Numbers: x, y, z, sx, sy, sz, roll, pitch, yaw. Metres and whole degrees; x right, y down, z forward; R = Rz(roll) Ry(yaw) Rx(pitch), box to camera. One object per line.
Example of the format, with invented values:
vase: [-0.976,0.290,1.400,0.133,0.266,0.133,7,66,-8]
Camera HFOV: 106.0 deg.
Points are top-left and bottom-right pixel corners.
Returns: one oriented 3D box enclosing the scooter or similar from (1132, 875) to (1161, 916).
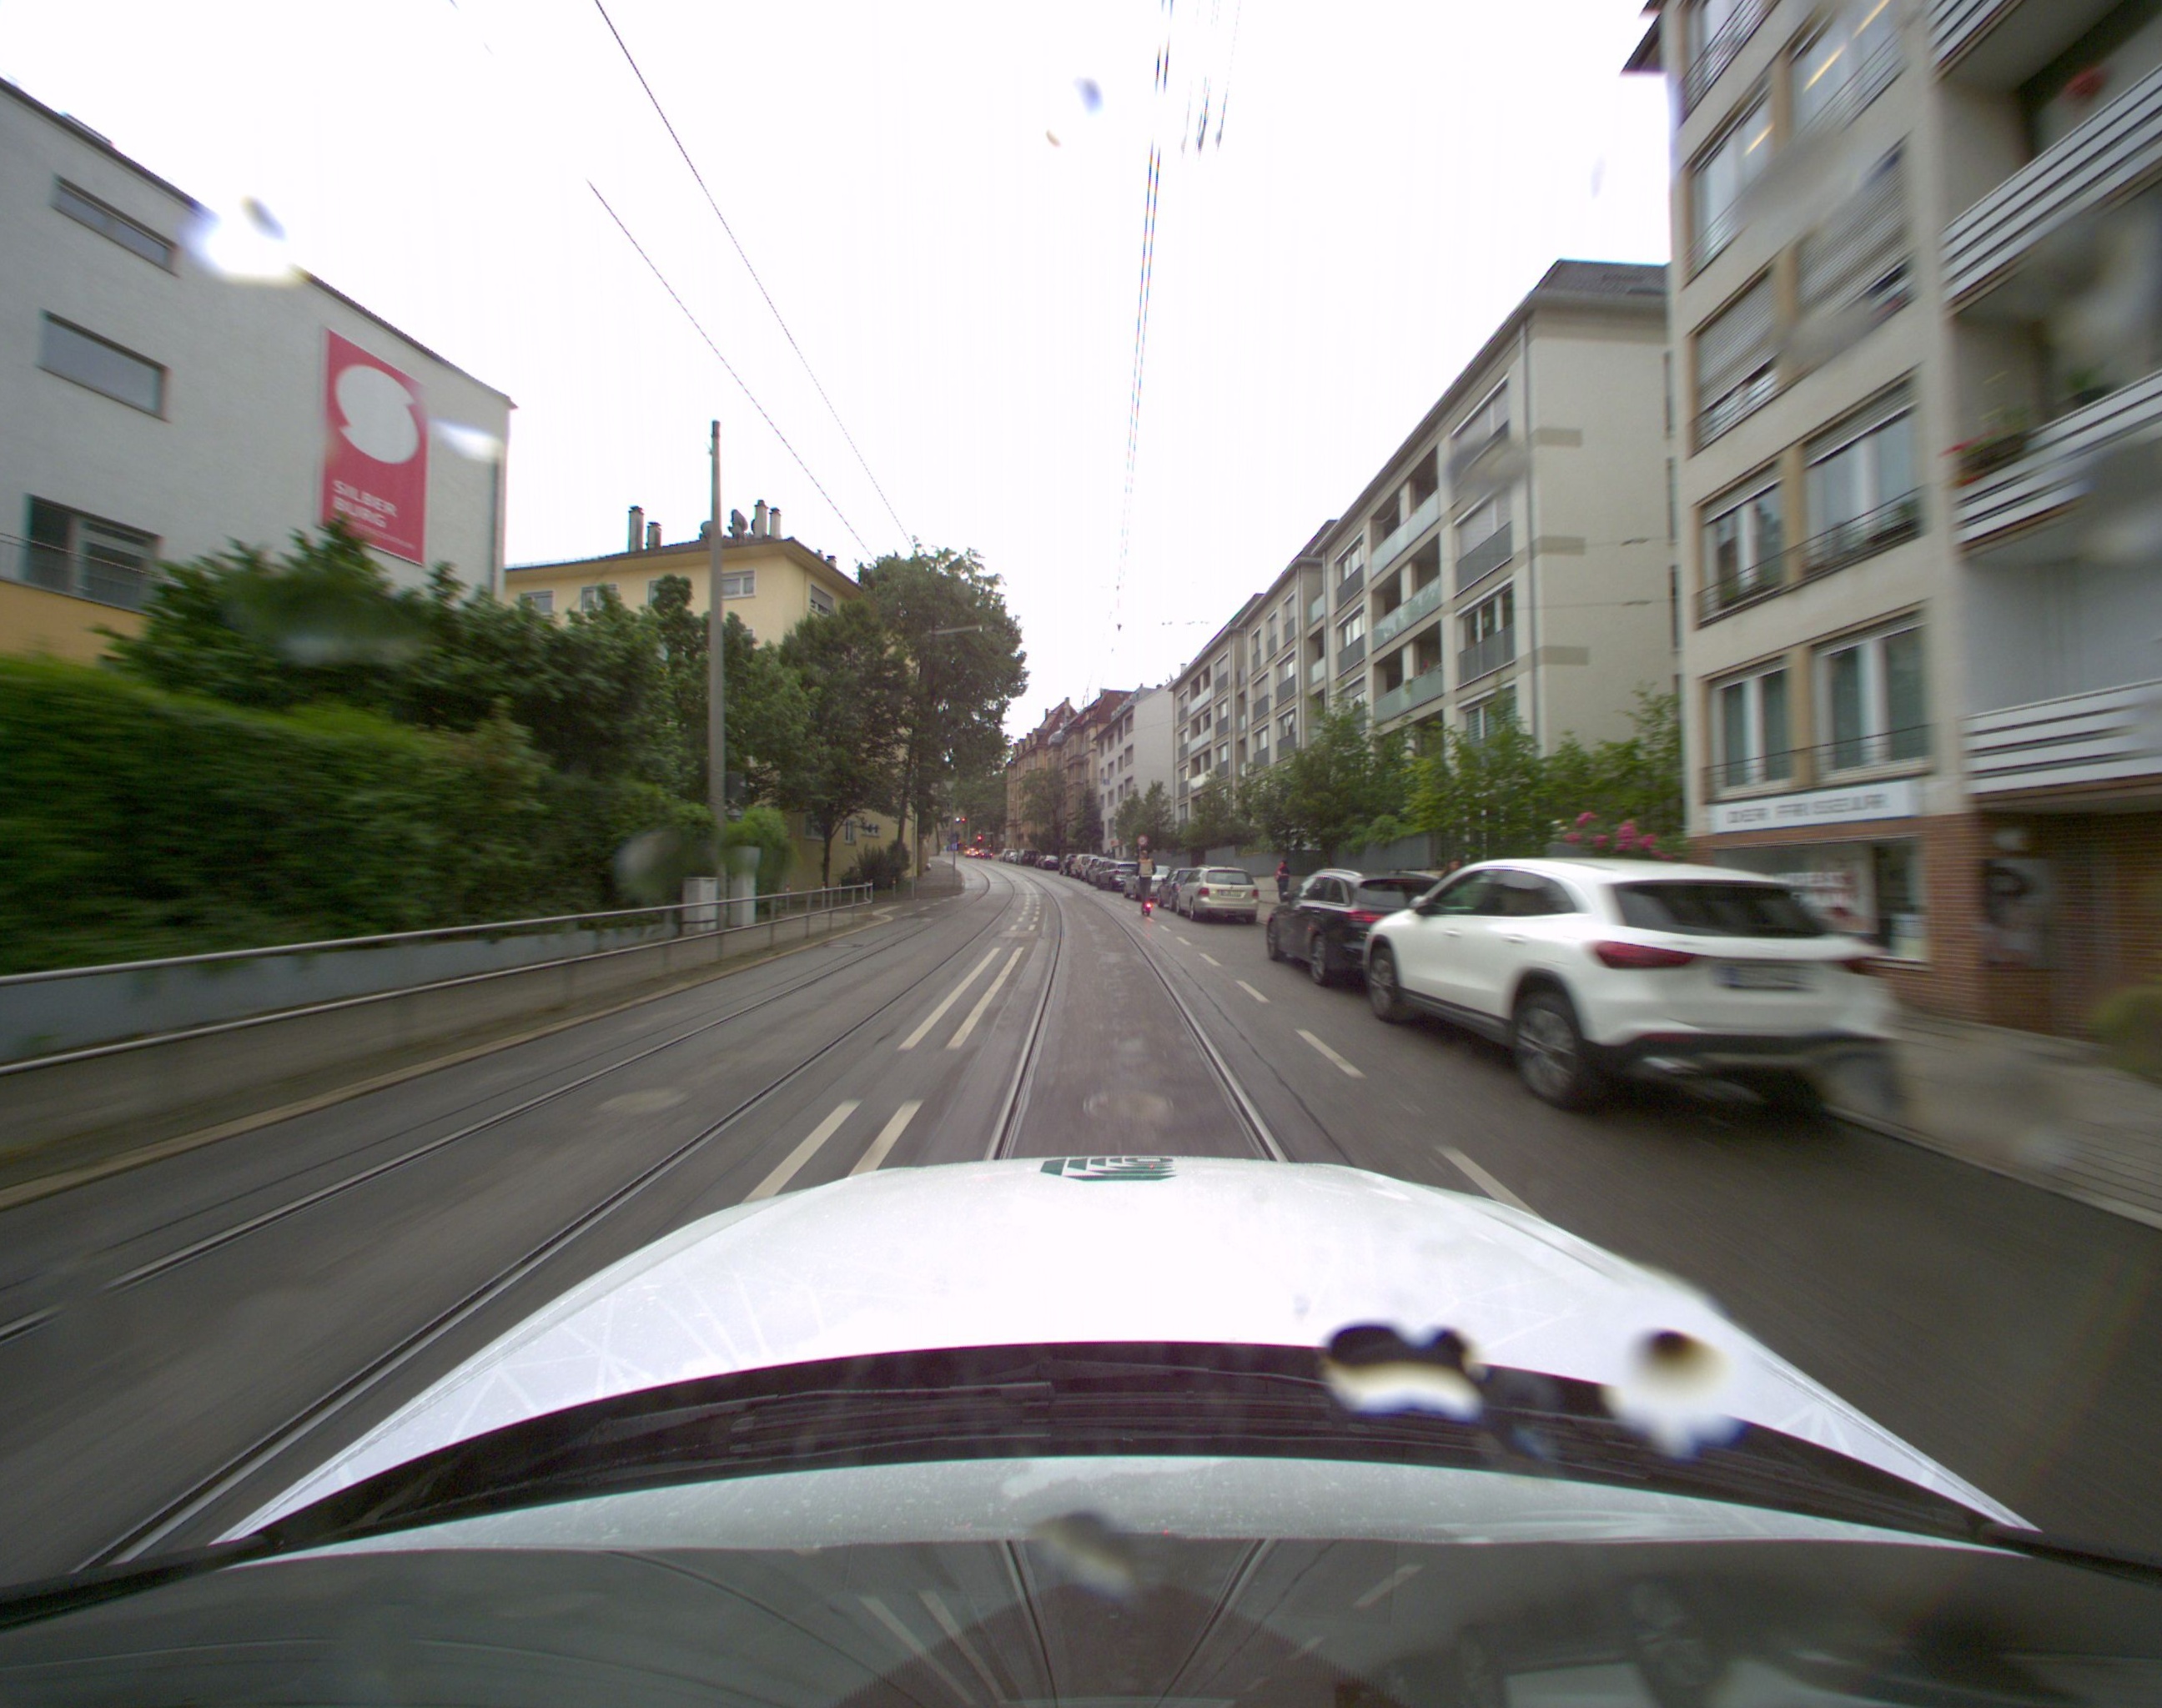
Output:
scooter or similar: [1.913,1.196,23.847,0.512,1.049,2.006,2,0,-4]

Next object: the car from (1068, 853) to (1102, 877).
car: [0.268,0.813,62.068,1.767,1.684,4.233,1,0,-10]

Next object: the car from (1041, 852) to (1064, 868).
car: [-2.869,0.586,80.228,1.766,1.518,4.126,1,0,-9]

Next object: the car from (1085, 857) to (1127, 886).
car: [1.507,1.040,50.374,1.766,1.615,4.234,1,0,-10]

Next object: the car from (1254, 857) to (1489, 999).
car: [3.820,0.857,11.625,1.696,1.512,4.571,3,0,0]

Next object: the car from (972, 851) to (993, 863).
car: [-14.976,0.419,123.975,2.037,1.734,4.107,1,0,-24]

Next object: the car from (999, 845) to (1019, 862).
car: [-9.798,-0.108,110.498,2.030,2.218,4.121,1,0,-13]

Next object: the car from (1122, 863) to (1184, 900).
car: [2.973,1.114,34.571,1.760,1.435,4.629,0,0,-6]

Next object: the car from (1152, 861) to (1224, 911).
car: [3.565,1.028,27.615,1.698,1.512,3.709,1,0,-4]

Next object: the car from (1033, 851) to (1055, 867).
car: [-3.895,0.504,85.201,1.650,1.536,3.874,-2,1,-11]

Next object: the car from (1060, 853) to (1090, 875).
car: [-0.532,0.805,66.696,1.766,1.684,4.235,1,0,-9]

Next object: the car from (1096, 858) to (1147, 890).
car: [2.143,1.026,44.260,1.768,1.615,4.230,0,0,-12]

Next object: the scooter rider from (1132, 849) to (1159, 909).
scooter rider: [1.879,0.723,23.929,0.622,1.705,0.843,2,0,-4]

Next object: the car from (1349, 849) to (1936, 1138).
car: [3.865,0.785,6.700,1.832,1.573,4.246,2,0,-1]

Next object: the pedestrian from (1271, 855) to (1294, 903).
pedestrian: [6.711,0.827,27.129,0.567,1.542,0.651,-2,0,0]

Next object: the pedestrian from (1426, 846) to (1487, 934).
pedestrian: [6.946,0.648,15.096,0.569,1.542,0.927,-2,0,-8]

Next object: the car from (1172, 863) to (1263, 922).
car: [3.708,0.999,22.884,1.657,1.471,4.504,1,-1,-2]

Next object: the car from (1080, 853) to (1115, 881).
car: [1.070,0.856,55.889,1.765,1.787,4.237,1,0,-8]

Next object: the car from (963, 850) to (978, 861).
car: [-17.592,0.234,129.474,1.860,1.734,4.117,1,0,-16]

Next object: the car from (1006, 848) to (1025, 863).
car: [-8.446,0.134,105.285,2.028,1.824,4.124,1,0,-11]

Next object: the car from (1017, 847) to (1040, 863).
car: [-6.126,0.091,94.461,2.030,1.824,4.348,1,0,-13]
